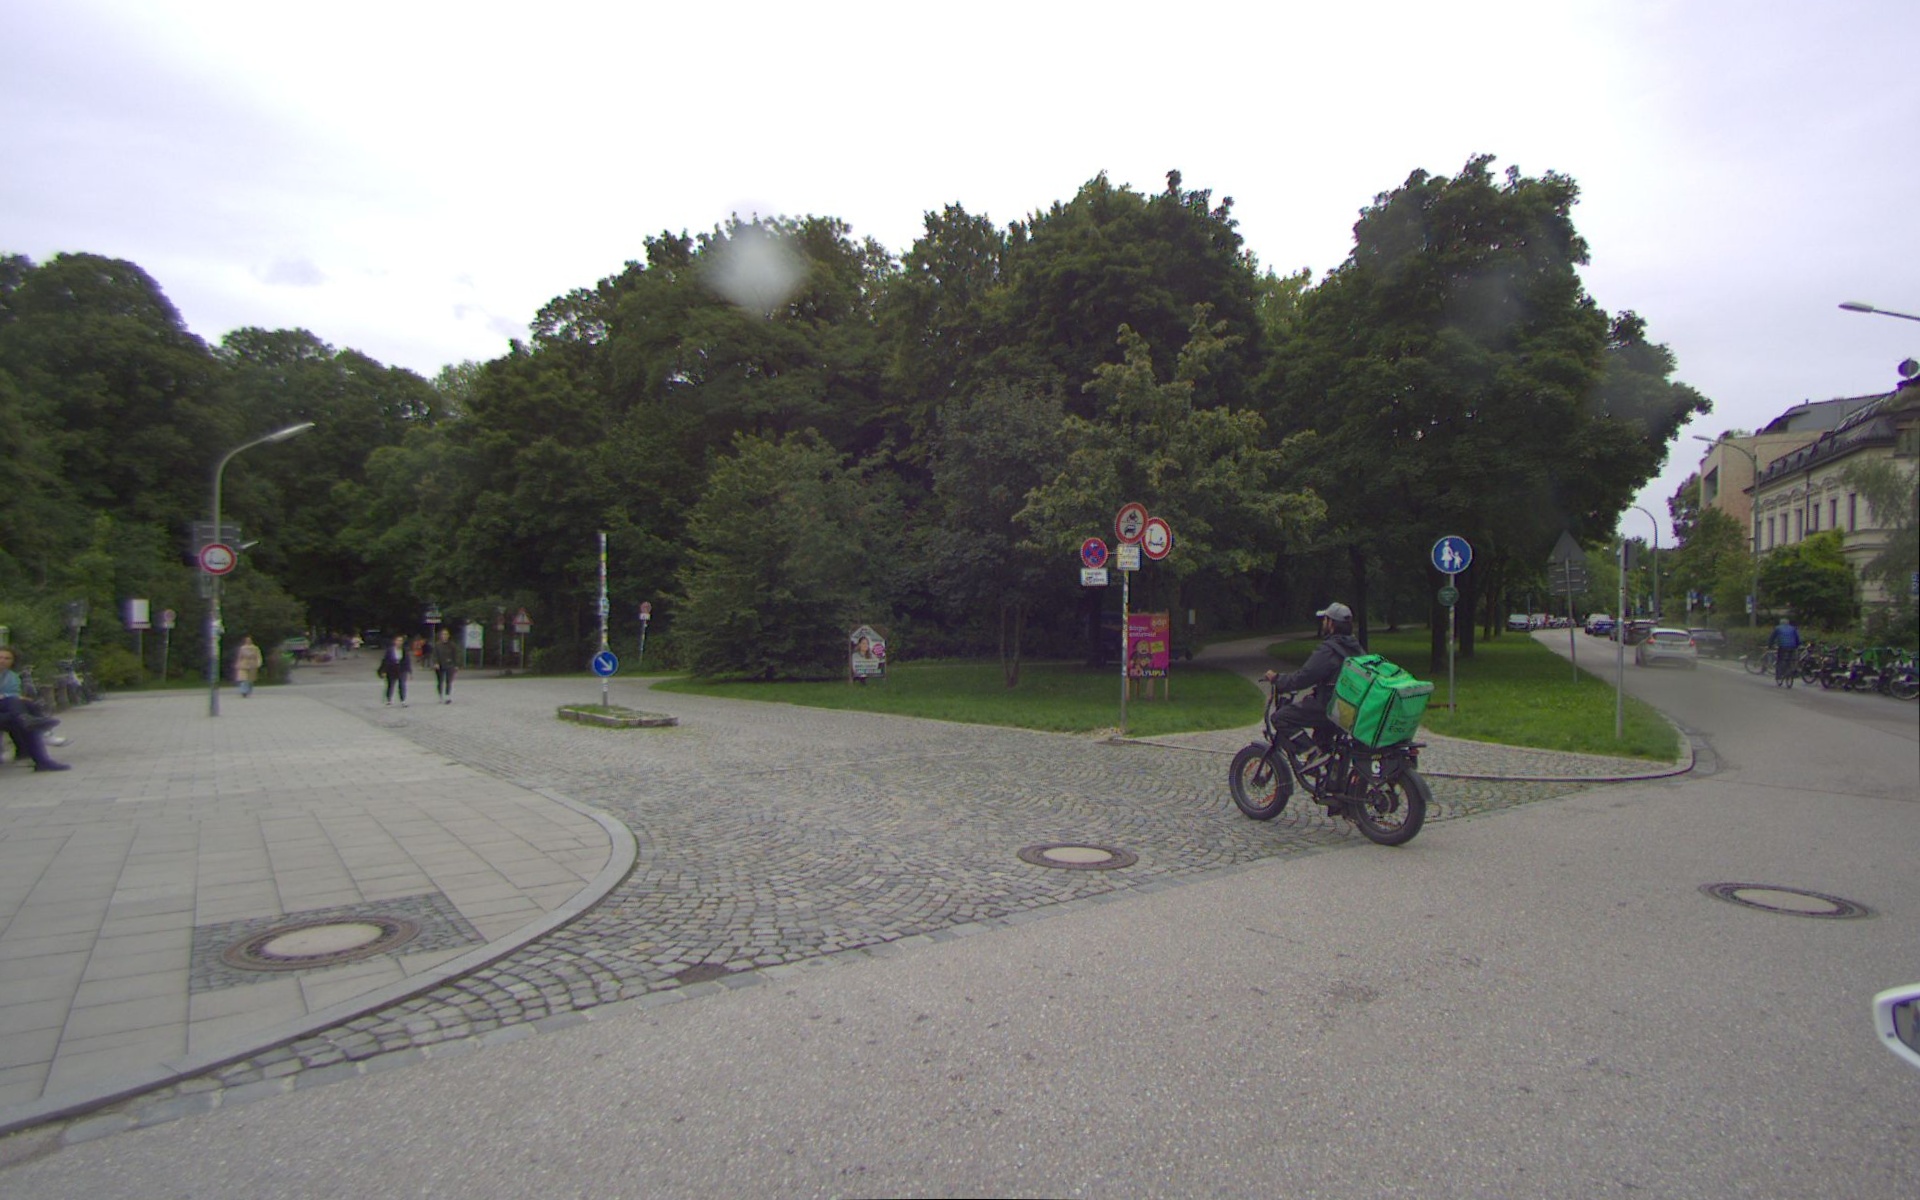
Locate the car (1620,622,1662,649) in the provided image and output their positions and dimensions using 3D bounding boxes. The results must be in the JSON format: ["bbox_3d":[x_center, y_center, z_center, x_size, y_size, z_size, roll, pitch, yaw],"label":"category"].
[{"bbox_3d":[44.736,2.297,66.049,1.766,1.702,3.995,0,-1,27],"label":"car"}]

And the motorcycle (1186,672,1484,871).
[{"bbox_3d":[2.618,1.137,7.248,0.711,1.113,1.958,1,-1,-35],"label":"motorcycle"}]

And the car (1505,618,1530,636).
[{"bbox_3d":[51.773,2.518,93.391,1.964,1.622,4.460,0,-1,29],"label":"car"}]

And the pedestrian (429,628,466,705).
[{"bbox_3d":[-11.835,1.522,23.206,0.654,1.720,0.744,1,-1,-35],"label":"pedestrian"}]

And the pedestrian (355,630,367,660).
[{"bbox_3d":[-42.045,3.137,70.500,0.690,2.040,0.711,0,-1,-37],"label":"pedestrian"}]

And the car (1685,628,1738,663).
[{"bbox_3d":[36.009,2.162,48.209,1.623,1.579,3.552,0,-1,30],"label":"car"}]

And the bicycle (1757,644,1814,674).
[{"bbox_3d":[28.890,2.069,35.169,1.506,1.028,0.410,0,-1,13],"label":"bicycle"}]

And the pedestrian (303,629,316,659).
[{"bbox_3d":[-44.843,3.017,69.215,0.690,2.040,0.711,0,-1,-37],"label":"pedestrian"}]

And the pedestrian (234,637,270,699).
[{"bbox_3d":[-20.465,1.953,29.041,0.743,1.728,1.099,1,-1,-40],"label":"pedestrian"}]

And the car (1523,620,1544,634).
[{"bbox_3d":[68.631,3.234,120.213,1.966,1.622,4.456,0,-1,33],"label":"car"}]

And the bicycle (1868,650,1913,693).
[{"bbox_3d":[23.437,1.795,25.301,1.519,1.028,0.364,1,-1,-29],"label":"bicycle"}]

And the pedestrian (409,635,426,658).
[{"bbox_3d":[-39.387,3.370,72.907,0.721,1.674,0.879,-1,-1,36],"label":"pedestrian"}]

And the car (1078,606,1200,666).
[{"bbox_3d":[6.280,1.279,35.511,3.924,2.040,1.786,1,-1,-6],"label":"car"}]

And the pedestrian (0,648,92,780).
[{"bbox_3d":[-9.873,1.163,10.431,1.257,1.285,0.840,1,-1,-43],"label":"pedestrian"}]

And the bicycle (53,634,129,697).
[{"bbox_3d":[-25.351,1.873,29.267,3.102,1.684,1.048,0,-1,37],"label":"bicycle"}]

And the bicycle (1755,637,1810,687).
[{"bbox_3d":[22.744,1.683,27.816,0.908,1.269,2.316,0,-1,32],"label":"bicycle"}]

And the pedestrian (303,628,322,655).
[{"bbox_3d":[-50.380,3.211,78.176,1.045,2.040,1.134,1,-2,-43],"label":"pedestrian"}]

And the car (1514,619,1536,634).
[{"bbox_3d":[60.462,2.836,107.476,1.964,1.622,4.460,0,-1,29],"label":"car"}]

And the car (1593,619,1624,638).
[{"bbox_3d":[57.703,2.529,89.407,1.963,1.622,4.248,0,-1,28],"label":"car"}]

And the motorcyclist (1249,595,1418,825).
[{"bbox_3d":[2.661,0.733,7.195,0.707,1.521,0.890,1,-1,-36],"label":"motorcyclist"}]

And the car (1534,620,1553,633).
[{"bbox_3d":[76.582,3.505,131.880,1.966,1.622,4.456,0,-1,33],"label":"car"}]

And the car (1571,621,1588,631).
[{"bbox_3d":[103.045,4.352,167.051,1.968,1.622,4.450,0,-1,37],"label":"car"}]

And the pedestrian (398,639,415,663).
[{"bbox_3d":[-39.110,3.576,70.974,0.867,1.674,0.731,0,-1,-12],"label":"pedestrian"}]

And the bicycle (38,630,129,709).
[{"bbox_3d":[-20.760,1.593,23.754,3.103,1.684,1.048,0,-1,38],"label":"bicycle"}]

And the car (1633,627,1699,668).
[{"bbox_3d":[26.540,1.740,37.866,1.722,1.425,3.720,0,-1,31],"label":"car"}]

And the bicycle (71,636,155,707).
[{"bbox_3d":[-22.148,1.811,26.239,3.103,1.684,1.048,0,-1,38],"label":"bicycle"}]

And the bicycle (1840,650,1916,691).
[{"bbox_3d":[24.022,1.842,26.297,1.506,1.028,0.367,0,-1,9],"label":"bicycle"}]

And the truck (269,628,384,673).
[{"bbox_3d":[-38.136,2.998,60.650,2.354,2.493,5.490,0,-1,24],"label":"truck"}]

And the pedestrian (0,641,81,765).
[{"bbox_3d":[-10.944,1.172,11.701,1.025,1.353,0.943,1,-1,-43],"label":"pedestrian"}]

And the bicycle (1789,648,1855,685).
[{"bbox_3d":[24.406,1.887,28.441,1.507,1.028,0.409,0,-1,0],"label":"bicycle"}]

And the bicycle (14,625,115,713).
[{"bbox_3d":[-18.893,1.404,21.170,2.956,1.684,1.048,0,-1,38],"label":"bicycle"}]

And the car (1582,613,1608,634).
[{"bbox_3d":[61.840,2.269,97.827,2.036,1.992,4.966,0,-1,31],"label":"car"}]

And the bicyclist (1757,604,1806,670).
[{"bbox_3d":[22.834,1.021,27.931,0.901,1.787,1.212,0,-1,33],"label":"bicyclist"}]

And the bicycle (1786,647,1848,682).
[{"bbox_3d":[25.513,1.927,29.903,1.507,1.028,0.409,0,-1,0],"label":"bicycle"}]

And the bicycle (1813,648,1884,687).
[{"bbox_3d":[24.250,1.843,27.412,1.507,1.028,0.409,0,-1,4],"label":"bicycle"}]

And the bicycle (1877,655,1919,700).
[{"bbox_3d":[22.569,1.820,23.563,1.509,1.028,0.367,-1,-1,28],"label":"bicycle"}]

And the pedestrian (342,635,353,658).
[{"bbox_3d":[-41.189,3.143,67.520,0.535,1.514,0.537,1,-1,-40],"label":"pedestrian"}]

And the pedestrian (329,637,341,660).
[{"bbox_3d":[-41.933,3.265,67.372,0.655,1.514,0.624,1,-1,-28],"label":"pedestrian"}]

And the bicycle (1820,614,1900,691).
[{"bbox_3d":[24.002,1.399,26.802,1.643,2.040,0.457,0,-1,4],"label":"bicycle"}]

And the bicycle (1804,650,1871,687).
[{"bbox_3d":[24.396,1.901,27.937,1.507,1.028,0.409,0,-1,0],"label":"bicycle"}]

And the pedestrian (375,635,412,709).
[{"bbox_3d":[-12.679,1.596,22.476,0.684,1.602,0.745,1,-1,-32],"label":"pedestrian"}]

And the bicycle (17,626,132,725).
[{"bbox_3d":[-16.660,1.349,18.861,3.102,1.684,1.048,0,-1,38],"label":"bicycle"}]
